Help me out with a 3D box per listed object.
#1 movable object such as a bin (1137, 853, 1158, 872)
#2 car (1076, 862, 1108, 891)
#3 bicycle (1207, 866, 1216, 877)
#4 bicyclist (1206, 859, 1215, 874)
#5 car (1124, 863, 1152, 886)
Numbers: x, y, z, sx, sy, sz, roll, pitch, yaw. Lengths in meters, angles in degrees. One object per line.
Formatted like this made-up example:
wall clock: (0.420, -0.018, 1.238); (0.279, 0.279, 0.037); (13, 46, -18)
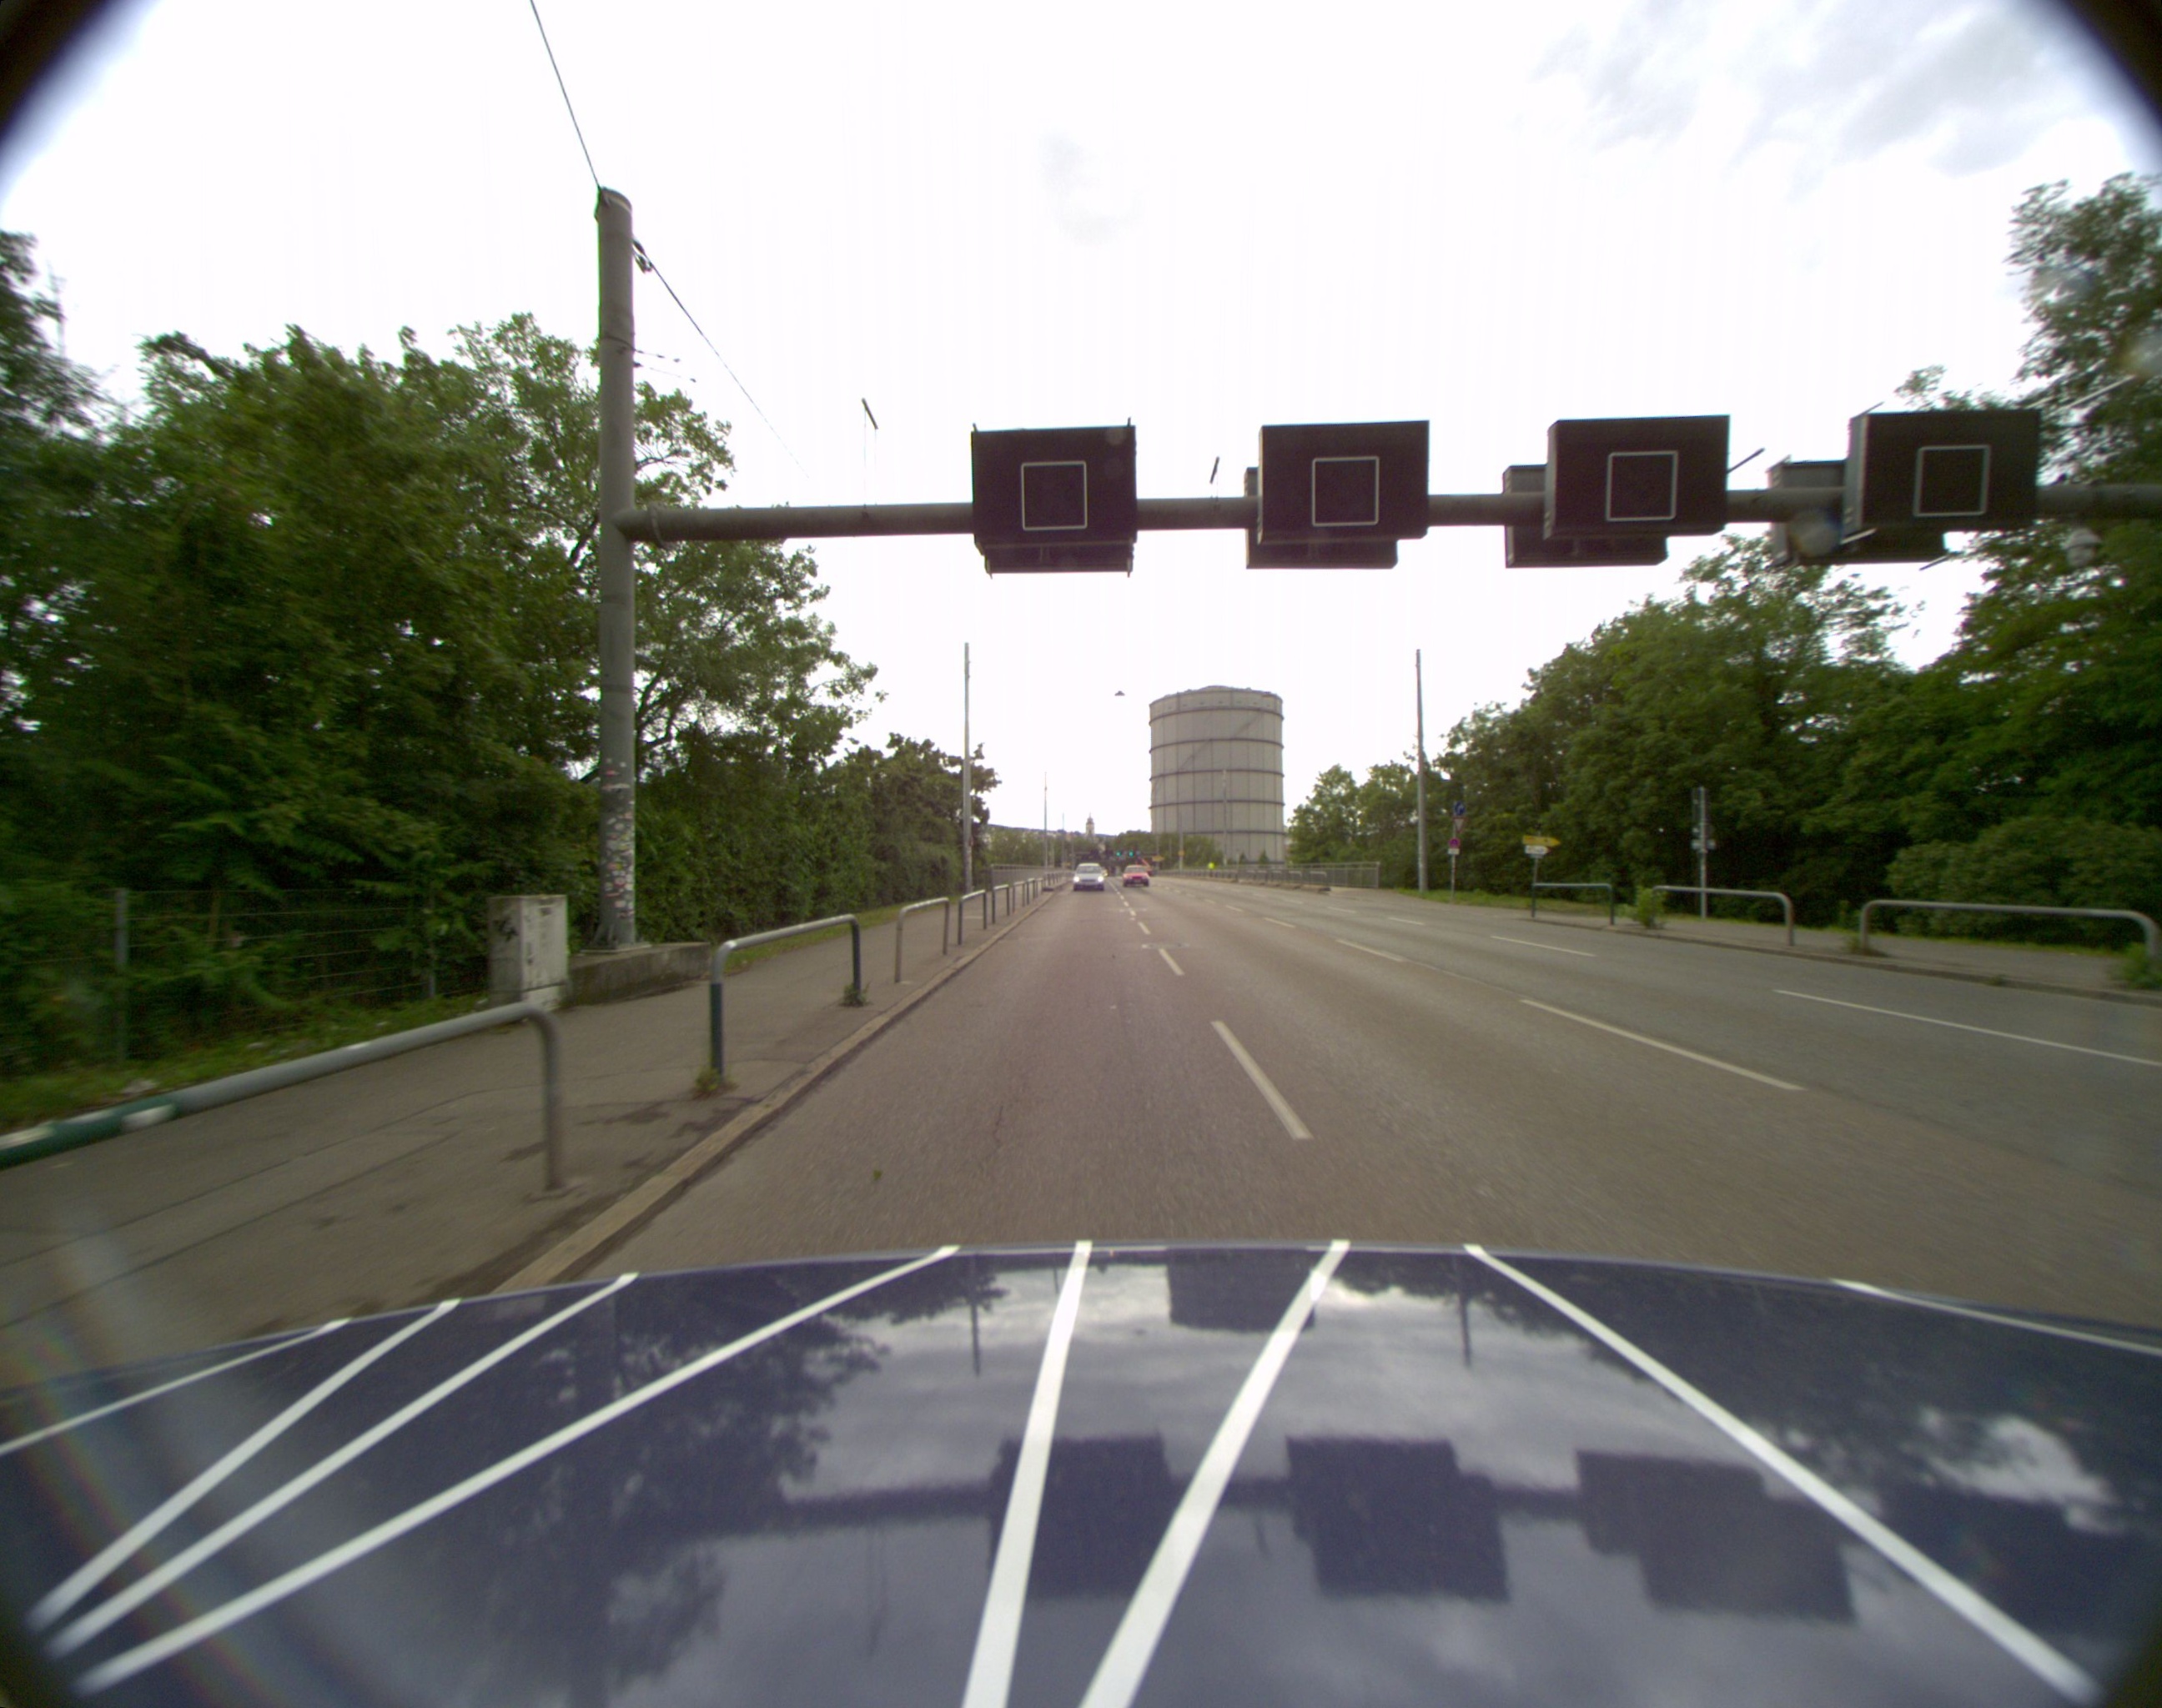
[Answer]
movable object such as a bin: (12.547, 1.609, 144.287); (3.463, 3.303, 9.360); (1, 0, 2)
car: (0.645, 1.247, 43.408); (1.771, 1.565, 4.000); (0, 0, 2)
bicycle: (14.055, 1.891, 81.833); (0.636, 1.058, 1.983); (-8, -1, 4)
bicyclist: (13.937, 1.357, 81.838); (0.627, 1.467, 0.670); (-8, -1, 3)
car: (3.874, 1.383, 52.296); (1.696, 1.434, 4.000); (1, 0, 1)
